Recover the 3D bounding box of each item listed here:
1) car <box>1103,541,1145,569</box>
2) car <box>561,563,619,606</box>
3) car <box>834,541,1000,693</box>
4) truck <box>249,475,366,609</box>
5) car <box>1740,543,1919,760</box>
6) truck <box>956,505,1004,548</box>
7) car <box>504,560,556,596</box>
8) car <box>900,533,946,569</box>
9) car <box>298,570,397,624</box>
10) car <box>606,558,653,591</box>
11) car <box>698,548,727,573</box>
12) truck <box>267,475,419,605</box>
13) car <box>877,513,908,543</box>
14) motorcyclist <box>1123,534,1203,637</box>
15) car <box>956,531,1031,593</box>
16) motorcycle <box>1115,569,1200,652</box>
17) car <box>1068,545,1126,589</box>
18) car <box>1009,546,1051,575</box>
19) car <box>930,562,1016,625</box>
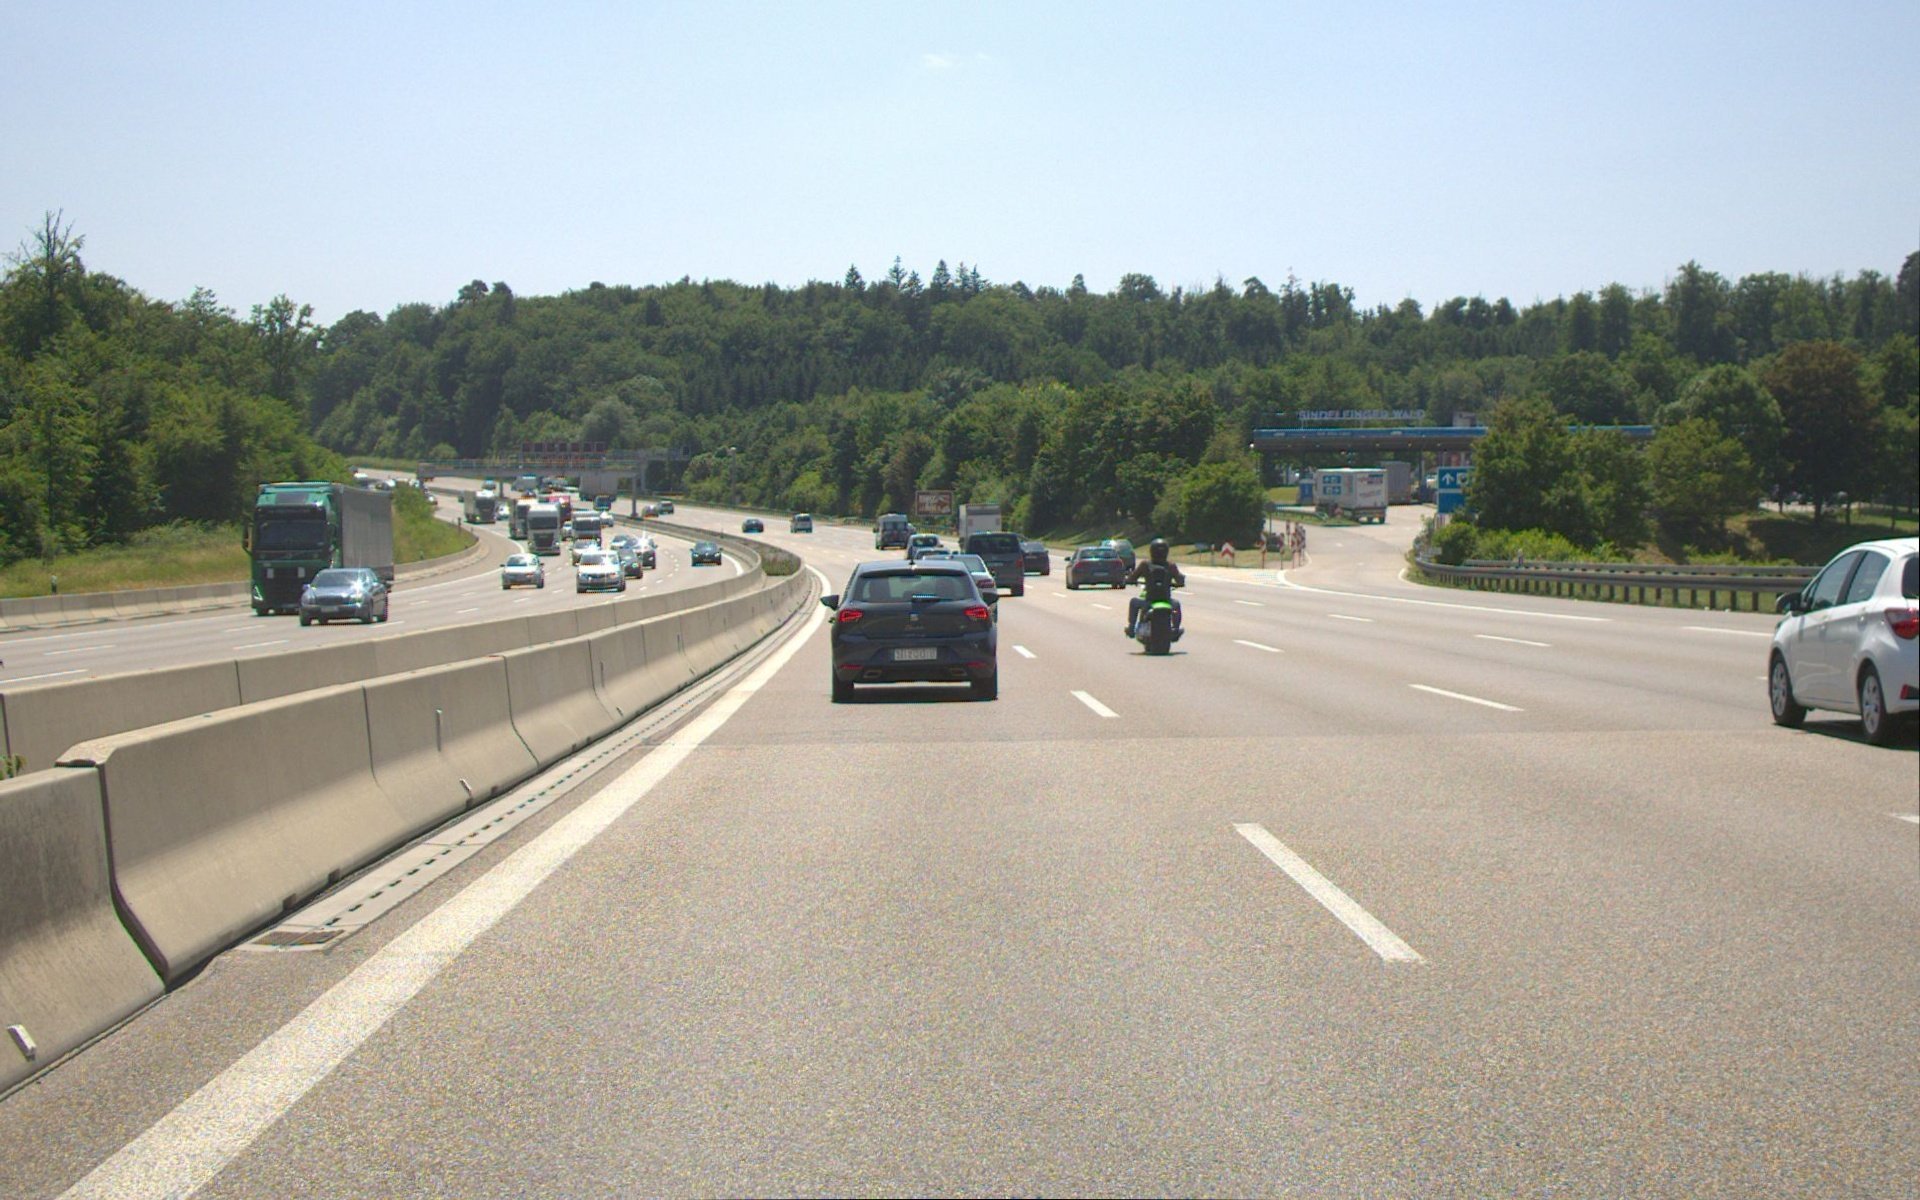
[{"bbox_3d":[7.218,-1.992,151.519,1.608,1.208,3.460,0,1,-2],"label":"car"},{"bbox_3d":[-14.191,-0.616,132.058,1.831,1.556,4.777,-1,1,-1],"label":"car"},{"bbox_3d":[-0.427,0.187,36.080,1.624,1.482,3.685,1,-1,0],"label":"car"},{"bbox_3d":[-20.264,-1.811,107.050,2.657,4.012,5.511,-1,1,-2],"label":"truck"},{"bbox_3d":[7.279,0.315,25.944,1.666,1.428,4.376,-3,1,-1],"label":"car"},{"bbox_3d":[1.318,-4.972,231.437,2.726,2.776,5.684,2,2,-4],"label":"truck"},{"bbox_3d":[-18.950,-0.979,151.563,1.872,1.529,4.136,-1,1,-2],"label":"car"},{"bbox_3d":[-1.875,-2.503,174.214,1.993,1.678,4.425,2,2,-4],"label":"car"},{"bbox_3d":[-15.861,-0.084,89.187,1.831,1.297,4.730,1,1,-2],"label":"car"},{"bbox_3d":[-16.293,-1.260,169.648,1.872,1.471,5.112,-4,1,-1],"label":"car"},{"bbox_3d":[-14.993,-2.393,208.365,1.601,1.463,4.506,-1,1,-2],"label":"car"},{"bbox_3d":[-20.390,-2.012,114.451,2.690,4.012,14.299,-1,1,-1],"label":"truck"},{"bbox_3d":[-4.933,-5.268,250.795,1.993,2.006,4.675,2,2,-4],"label":"car"},{"bbox_3d":[2.906,-0.214,49.322,0.962,1.432,1.235,-1,2,-4],"label":"motorcyclist"},{"bbox_3d":[1.023,-1.179,106.265,2.097,1.845,4.081,-1,1,-2],"label":"car"},{"bbox_3d":[2.825,0.137,49.386,0.977,1.125,2.271,-1,1,-3],"label":"motorcycle"},{"bbox_3d":[4.555,-1.105,114.427,1.675,1.427,3.685,0,1,-2],"label":"car"},{"bbox_3d":[3.001,-1.706,148.224,1.608,1.208,3.460,0,1,-2],"label":"car"},{"bbox_3d":[0.254,-0.151,73.081,1.782,1.261,3.460,0,1,0],"label":"car"}]
